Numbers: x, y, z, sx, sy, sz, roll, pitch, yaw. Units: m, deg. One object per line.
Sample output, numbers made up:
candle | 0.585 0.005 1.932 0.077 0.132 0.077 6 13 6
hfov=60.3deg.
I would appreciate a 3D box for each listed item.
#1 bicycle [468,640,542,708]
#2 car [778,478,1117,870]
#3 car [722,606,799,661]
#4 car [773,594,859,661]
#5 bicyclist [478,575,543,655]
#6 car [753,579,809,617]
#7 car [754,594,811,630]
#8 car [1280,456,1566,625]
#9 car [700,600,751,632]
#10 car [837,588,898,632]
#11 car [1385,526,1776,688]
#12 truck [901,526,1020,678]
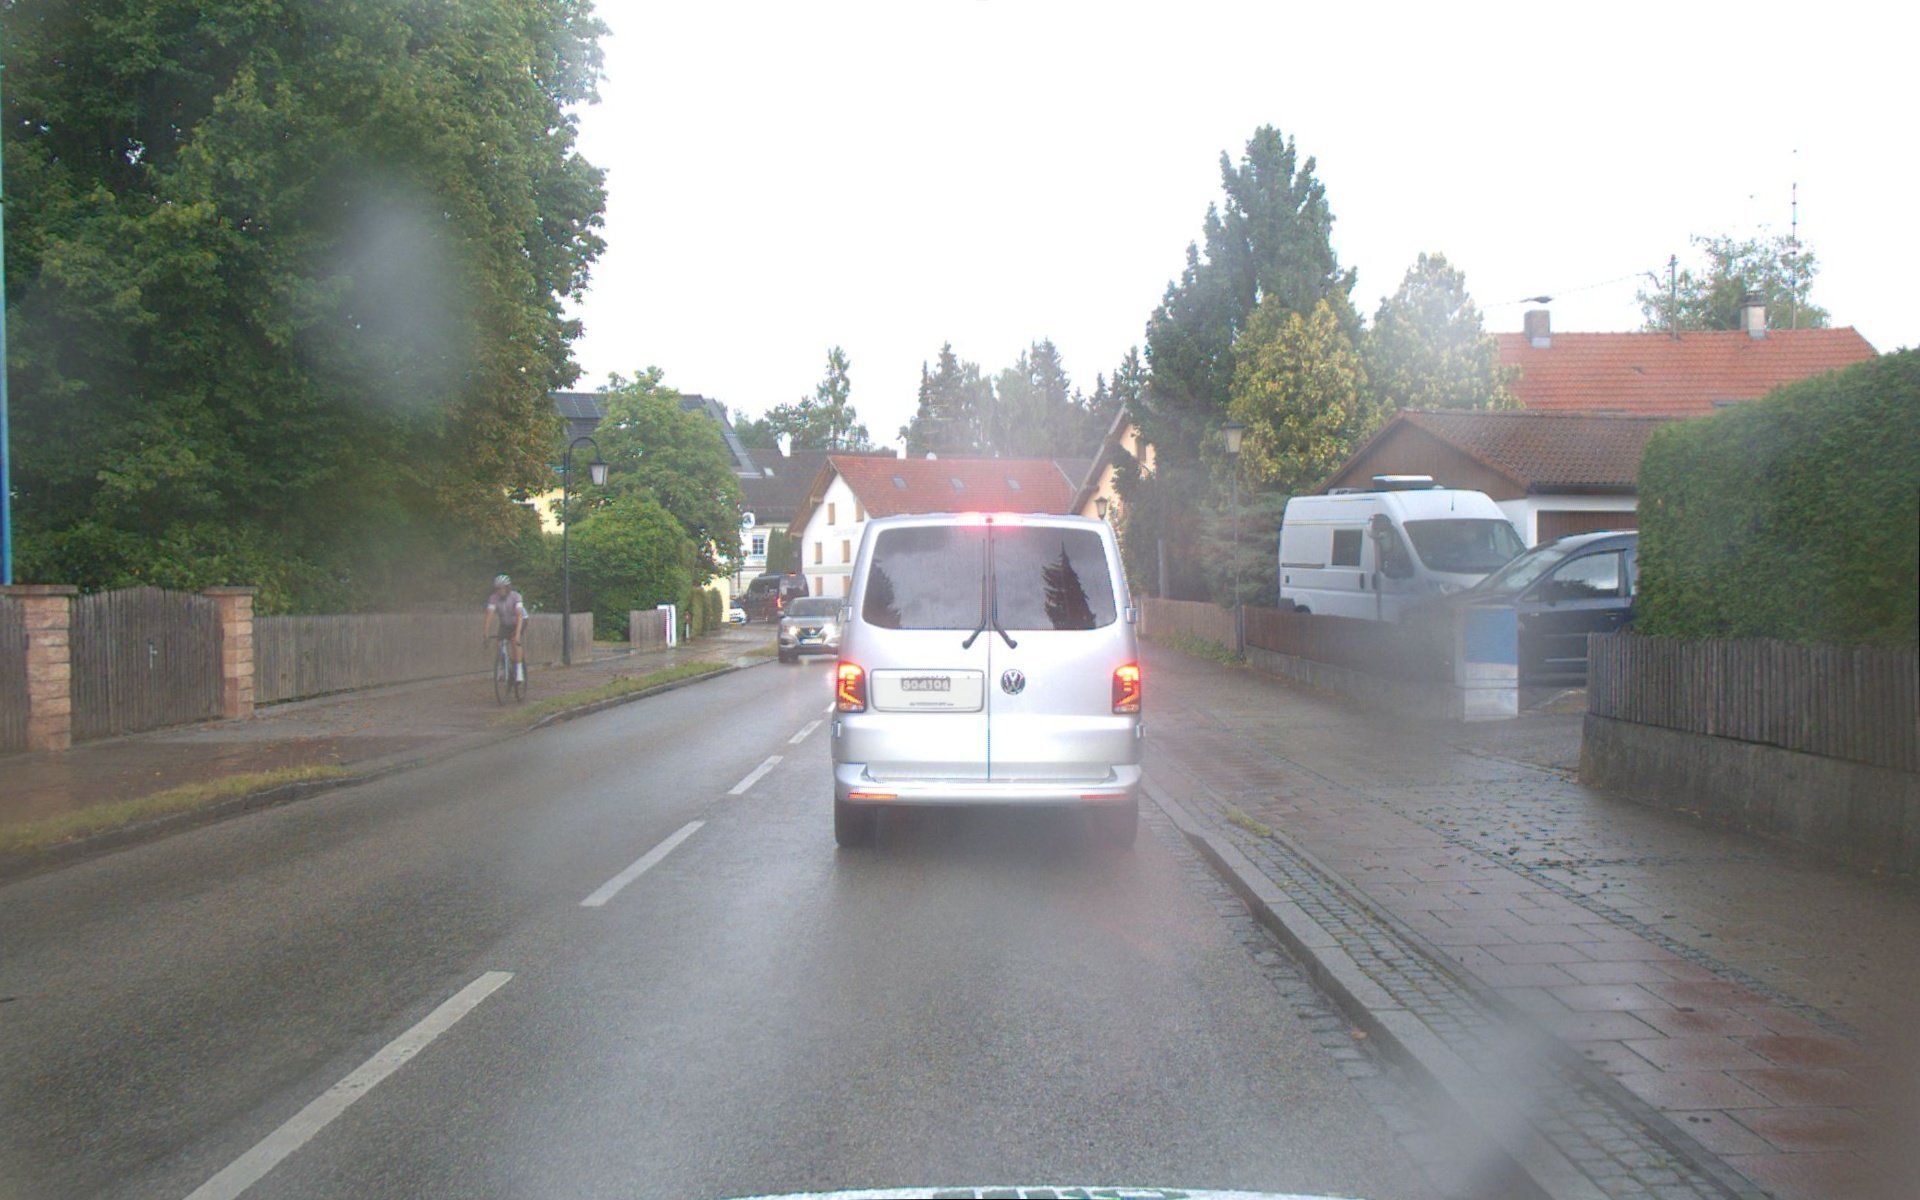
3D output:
bicycle | -5.997 0.959 21.886 0.447 0.812 1.977 0 0 -1
car | 0.011 0.414 10.827 1.763 2.049 4.001 1 -1 2
car | -5.551 0.925 46.393 1.584 1.470 3.671 1 -1 1
car | -3.562 0.683 41.619 1.790 1.586 4.176 -1 -1 0
bicyclist | -5.965 0.197 21.976 0.575 1.039 1.060 0 0 -1
car | -10.147 -0.101 93.509 1.968 2.049 3.970 2 -1 -24
car | -10.092 0.653 93.660 1.969 1.961 3.967 2 -1 -26
car | 6.722 -0.777 24.669 1.959 2.211 4.935 2 -1 -13
car | -13.254 0.904 93.230 1.965 1.733 3.974 2 -1 -21
car | -4.525 0.474 80.360 1.963 2.049 3.978 2 -1 -19
car | 7.277 0.039 19.618 4.012 1.782 1.693 -1 2 -4
truck | -0.019 0.081 37.894 2.425 3.128 6.295 1 -1 -1
